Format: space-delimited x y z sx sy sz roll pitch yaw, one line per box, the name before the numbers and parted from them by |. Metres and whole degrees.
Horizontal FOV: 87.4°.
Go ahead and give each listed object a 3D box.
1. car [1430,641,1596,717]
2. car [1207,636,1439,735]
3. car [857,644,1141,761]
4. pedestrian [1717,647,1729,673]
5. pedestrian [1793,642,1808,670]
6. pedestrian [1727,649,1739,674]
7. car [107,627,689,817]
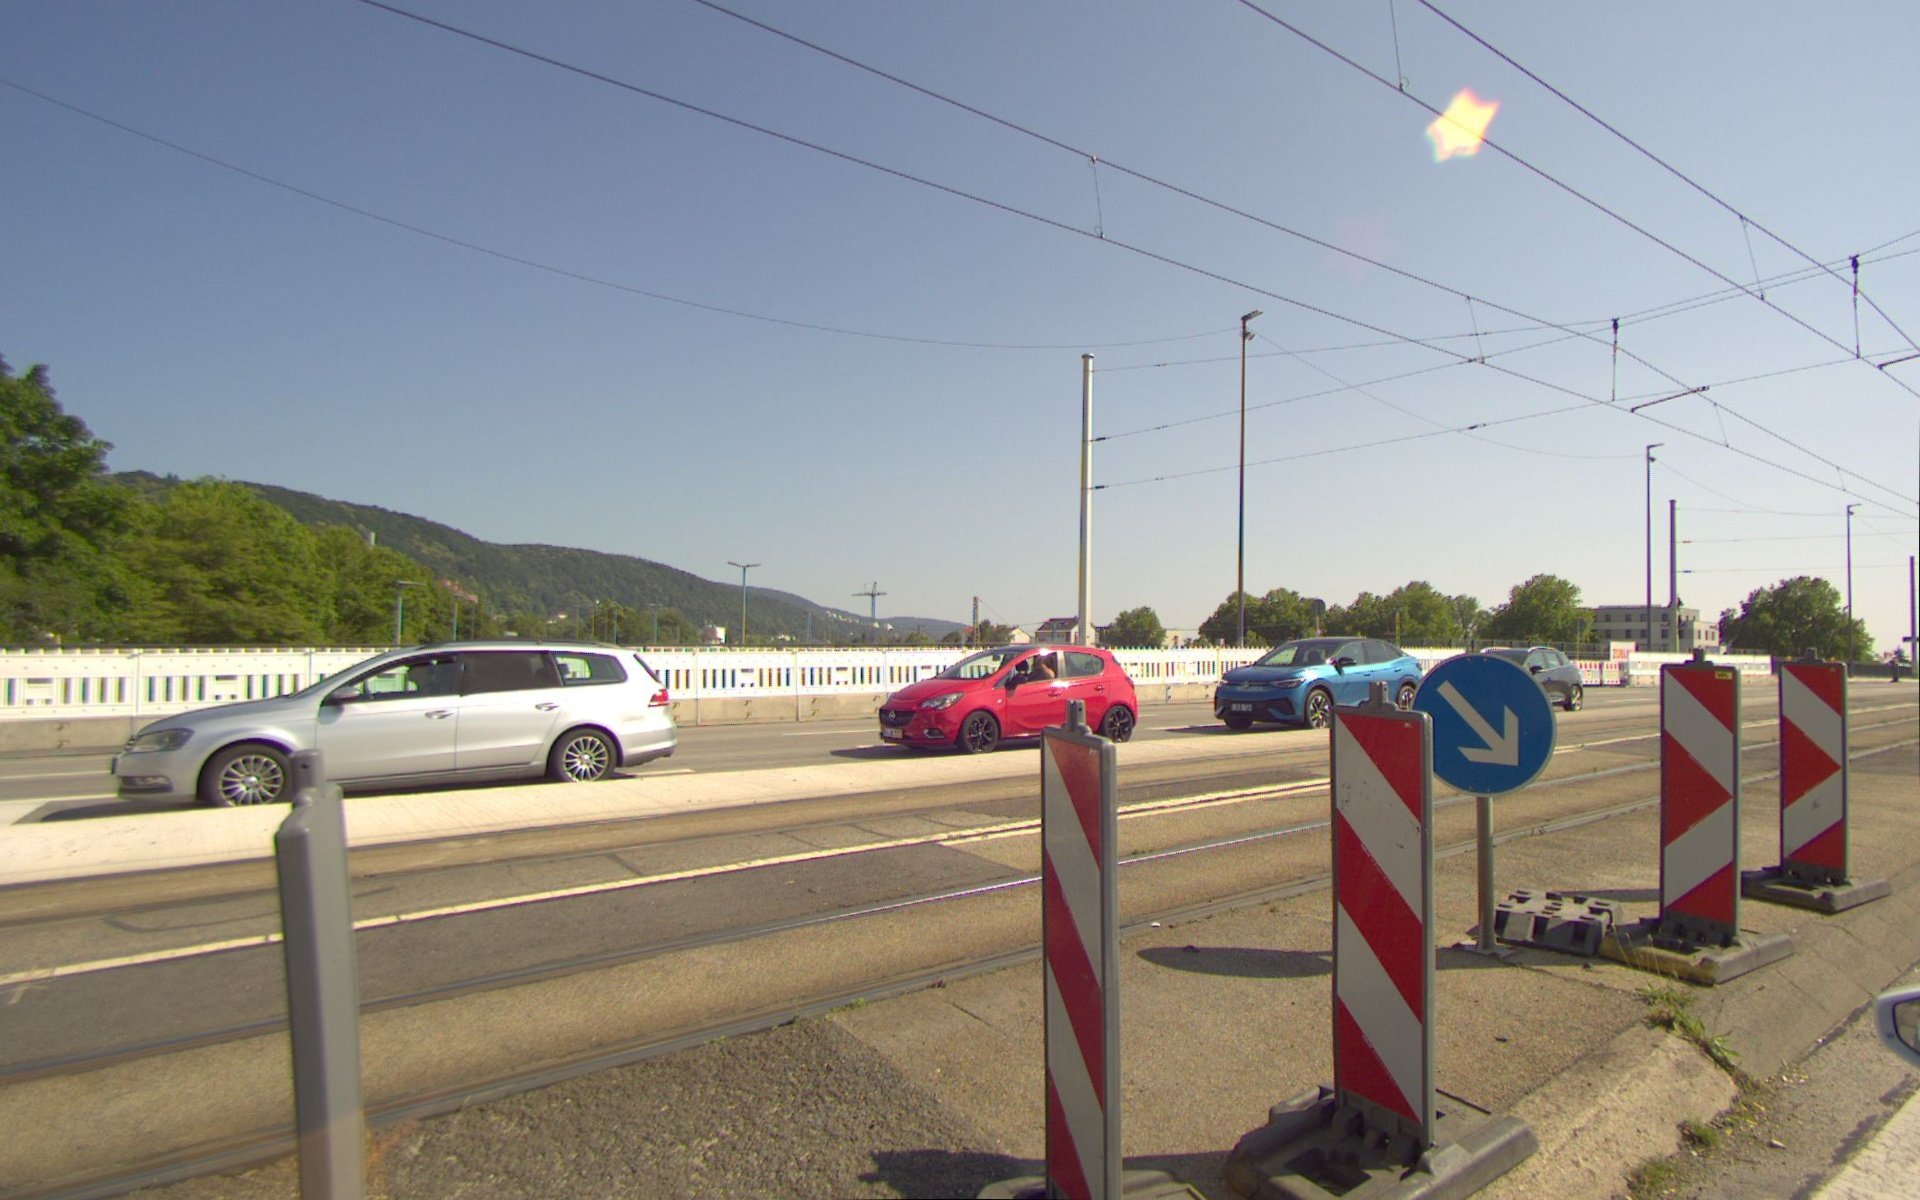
car | 12.159 1.689 21.999 4.136 1.520 1.496 2 -4 -35
car | 6.610 1.479 18.096 4.511 1.570 1.659 2 -4 -36
car | 0.626 1.368 14.276 3.941 1.456 1.524 2 -4 -36
pedestrian | 52.187 4.093 68.691 0.469 1.716 0.492 3 -2 -35
pedestrian | 59.239 3.962 70.769 0.745 1.918 0.630 2 -2 -35
pedestrian | 52.291 4.160 67.941 0.469 1.716 0.492 3 -2 -35
car | -5.147 1.045 9.753 4.598 1.456 1.627 2 -4 -36
